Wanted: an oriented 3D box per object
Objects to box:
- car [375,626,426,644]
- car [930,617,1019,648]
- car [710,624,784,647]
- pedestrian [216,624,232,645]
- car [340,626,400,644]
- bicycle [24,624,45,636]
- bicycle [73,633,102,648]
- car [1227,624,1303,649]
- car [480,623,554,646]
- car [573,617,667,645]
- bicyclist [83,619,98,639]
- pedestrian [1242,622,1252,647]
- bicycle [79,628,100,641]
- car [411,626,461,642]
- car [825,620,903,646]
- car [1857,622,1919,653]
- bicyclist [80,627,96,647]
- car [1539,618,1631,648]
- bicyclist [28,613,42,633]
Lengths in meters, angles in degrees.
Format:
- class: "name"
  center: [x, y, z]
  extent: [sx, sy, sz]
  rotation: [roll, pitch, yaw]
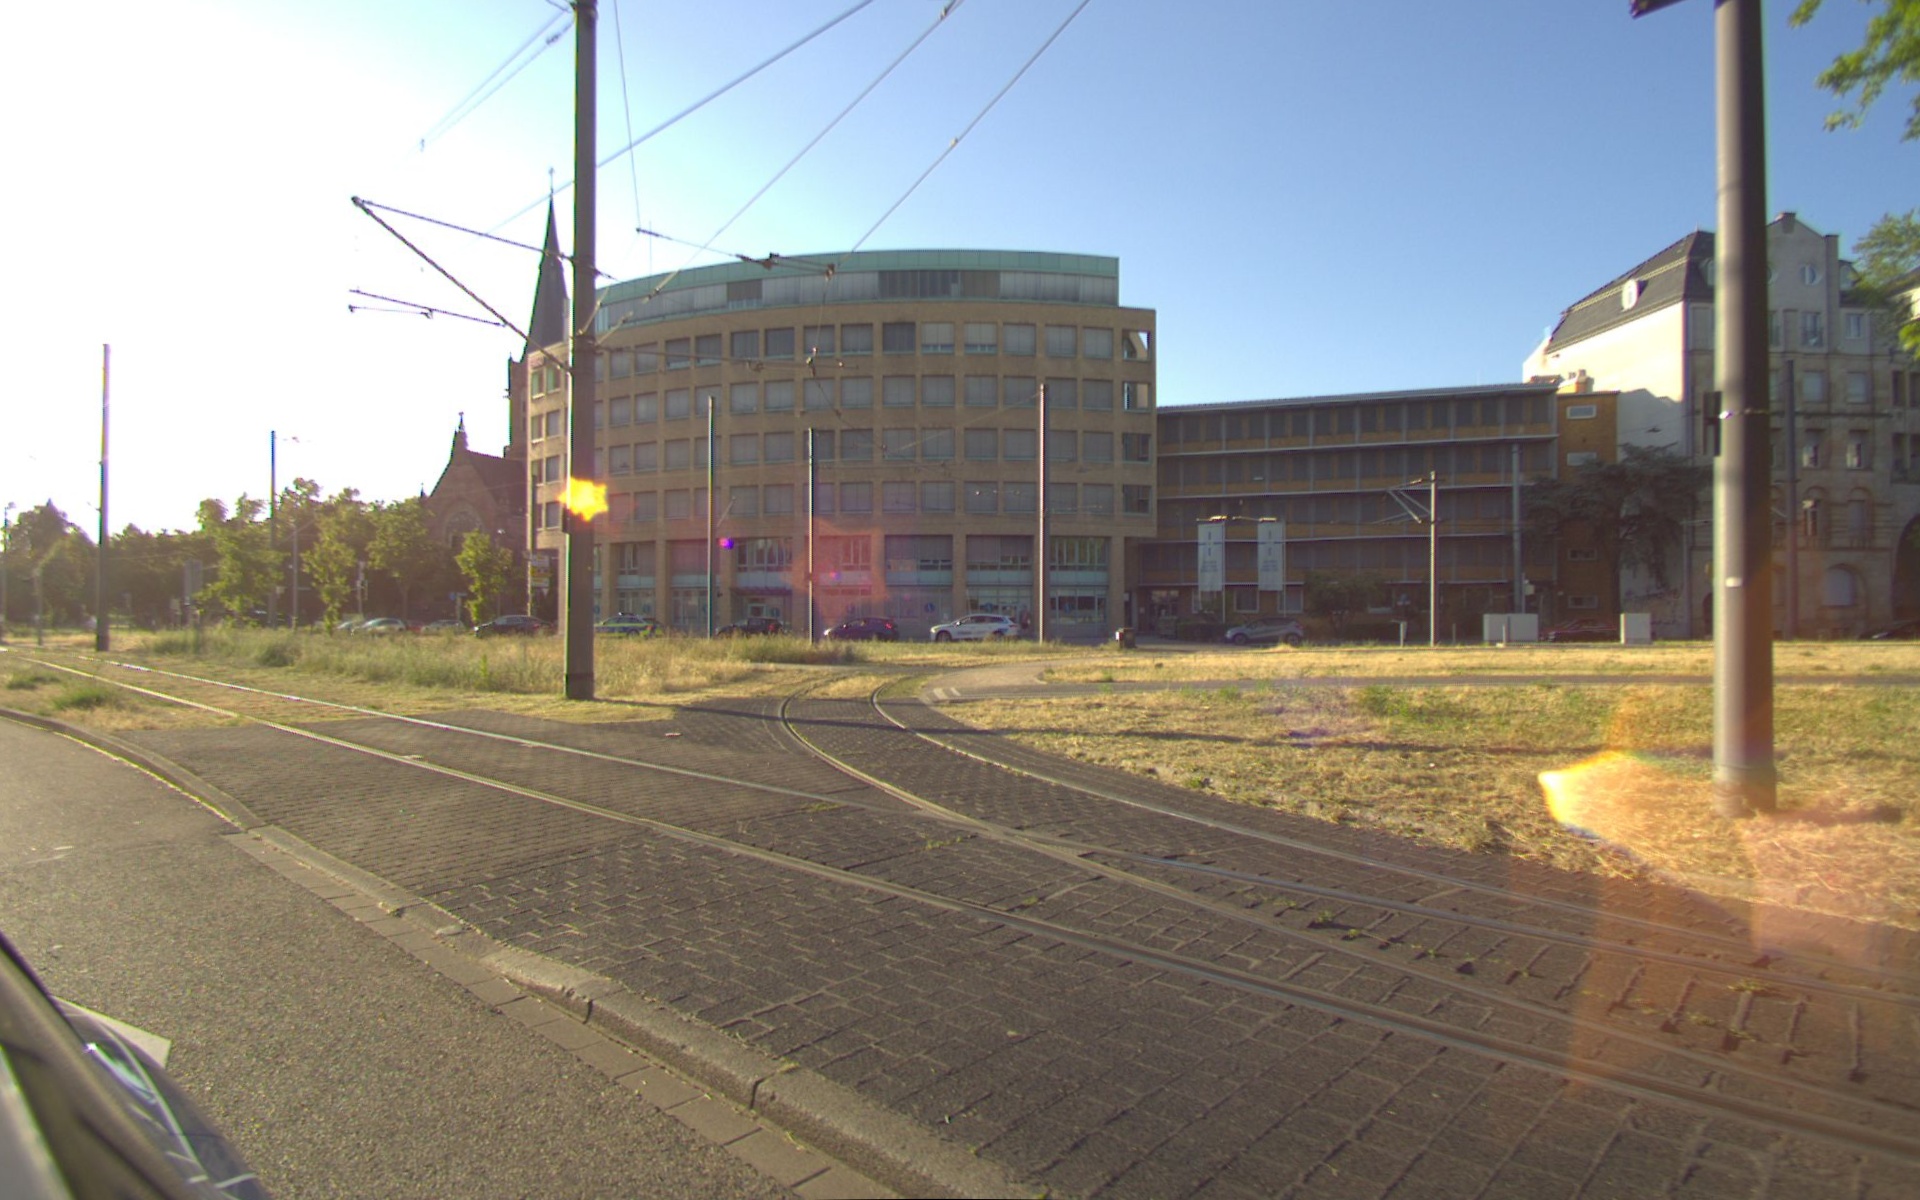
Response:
- class: "car"
  center: [-51.730, 3.242, 93.606]
  extent: [1.810, 1.597, 3.977]
  rotation: [-1, -1, 18]
- class: "car"
  center: [0.740, 1.632, 50.574]
  extent: [4.262, 1.493, 1.770]
  rotation: [-1, -1, 10]
- class: "car"
  center: [-11.315, 1.892, 53.779]
  extent: [3.567, 1.162, 1.516]
  rotation: [-1, -1, 17]
- class: "pedestrian"
  center: [-59.229, 2.801, 81.421]
  extent: [0.712, 1.685, 0.733]
  rotation: [-1, -2, 21]
- class: "car"
  center: [-48.880, 2.898, 83.945]
  extent: [1.889, 1.431, 3.971]
  rotation: [-1, -1, 21]
- class: "bicycle"
  center: [-83.621, 2.678, 91.464]
  extent: [1.914, 1.034, 0.522]
  rotation: [-1, 1, 18]
- class: "bicycle"
  center: [-69.859, 3.257, 81.026]
  extent: [1.892, 1.155, 0.460]
  rotation: [-1, 0, 0]
- class: "car"
  center: [15.760, 1.885, 52.446]
  extent: [3.696, 1.268, 1.562]
  rotation: [-1, -1, 17]
- class: "car"
  center: [-25.779, 1.986, 58.920]
  extent: [3.758, 1.292, 1.720]
  rotation: [-1, -1, 19]
- class: "car"
  center: [-18.969, 1.734, 56.495]
  extent: [4.738, 1.491, 1.885]
  rotation: [-1, -1, 15]
- class: "bicyclist"
  center: [-75.452, 2.520, 87.823]
  extent: [0.887, 1.693, 0.572]
  rotation: [-1, 0, 18]
- class: "pedestrian"
  center: [16.162, 1.941, 56.983]
  extent: [0.481, 1.441, 0.412]
  rotation: [-1, -2, 18]
- class: "bicycle"
  center: [-75.553, 2.990, 87.850]
  extent: [1.915, 1.034, 0.457]
  rotation: [-1, 0, 19]
- class: "car"
  center: [-48.402, 3.122, 93.572]
  extent: [1.887, 1.431, 3.976]
  rotation: [-1, -1, 18]
- class: "car"
  center: [-4.942, 1.675, 52.108]
  extent: [3.705, 1.291, 1.643]
  rotation: [-1, -1, 16]
- class: "car"
  center: [44.688, 1.746, 47.520]
  extent: [3.481, 1.364, 1.550]
  rotation: [-1, -1, 9]
- class: "bicyclist"
  center: [-69.838, 2.985, 81.030]
  extent: [0.809, 1.595, 0.521]
  rotation: [-1, 0, 0]
- class: "car"
  center: [30.588, 1.604, 49.614]
  extent: [3.481, 1.364, 1.550]
  rotation: [-1, -1, 9]
- class: "bicyclist"
  center: [-83.629, 2.091, 91.465]
  extent: [0.887, 1.841, 0.572]
  rotation: [-1, 0, 18]
